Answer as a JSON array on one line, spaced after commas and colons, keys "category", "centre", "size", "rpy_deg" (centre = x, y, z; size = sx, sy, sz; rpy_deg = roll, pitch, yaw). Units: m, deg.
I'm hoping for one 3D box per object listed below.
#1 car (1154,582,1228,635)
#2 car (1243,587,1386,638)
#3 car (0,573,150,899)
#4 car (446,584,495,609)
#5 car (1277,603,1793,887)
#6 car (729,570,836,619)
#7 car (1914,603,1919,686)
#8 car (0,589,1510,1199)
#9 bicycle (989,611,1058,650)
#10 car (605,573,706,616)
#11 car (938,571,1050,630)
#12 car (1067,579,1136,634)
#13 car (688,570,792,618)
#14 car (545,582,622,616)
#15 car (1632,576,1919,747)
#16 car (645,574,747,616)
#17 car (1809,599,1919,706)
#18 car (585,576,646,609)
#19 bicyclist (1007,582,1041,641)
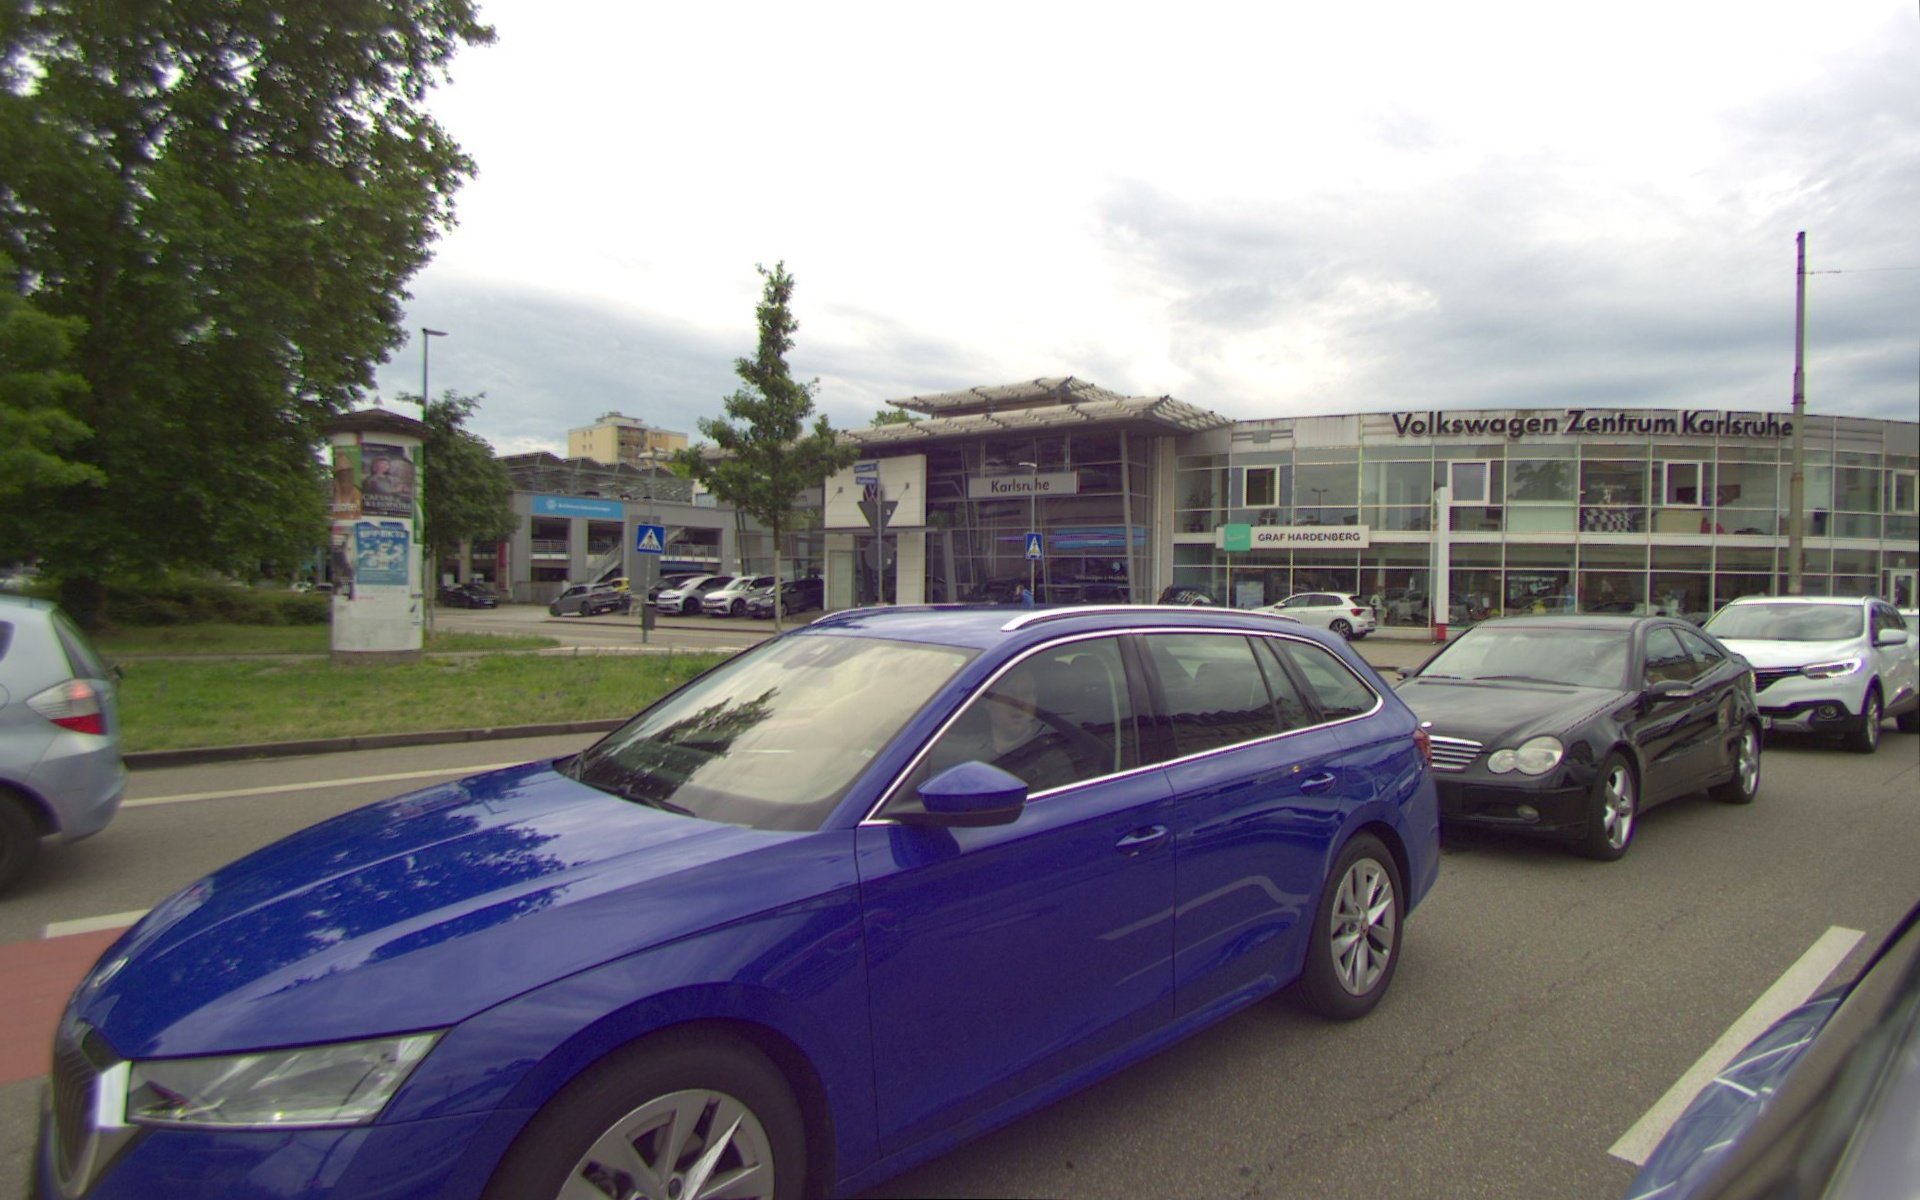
[{"category": "car", "centre": [7.339, 0.209, 32.536], "size": [1.760, 1.580, 4.029], "rpy_deg": [1, 1, 5]}, {"category": "car", "centre": [11.080, 0.350, 31.719], "size": [3.889, 1.459, 1.708], "rpy_deg": [2, 1, 40]}, {"category": "car", "centre": [-6.014, 0.629, 4.352], "size": [3.867, 1.502, 1.707], "rpy_deg": [0, 0, -43]}, {"category": "car", "centre": [-28.714, -0.237, 59.273], "size": [1.928, 1.358, 3.678], "rpy_deg": [-1, 2, -37]}, {"category": "car", "centre": [4.257, 0.734, 7.180], "size": [4.343, 1.388, 1.769], "rpy_deg": [0, 0, -40]}, {"category": "car", "centre": [-7.433, -0.287, 42.694], "size": [1.946, 1.472, 4.180], "rpy_deg": [2, 9, 37]}, {"category": "car", "centre": [18.953, 0.802, 18.288], "size": [3.899, 1.454, 1.909], "rpy_deg": [0, 1, -38]}, {"category": "car", "centre": [-0.019, 0.700, 3.407], "size": [4.674, 1.454, 1.768], "rpy_deg": [0, 0, -41]}, {"category": "bicycle", "centre": [1.652, 0.786, 26.564], "size": [1.779, 0.923, 0.555], "rpy_deg": [2, 1, 36]}, {"category": "car", "centre": [-14.248, -0.322, 47.586], "size": [1.946, 1.529, 4.179], "rpy_deg": [2, 7, 37]}, {"category": "car", "centre": [1.294, -0.067, 35.821], "size": [1.942, 1.662, 4.627], "rpy_deg": [1, 5, 31]}, {"category": "car", "centre": [4.705, 0.148, 33.179], "size": [1.927, 1.544, 4.216], "rpy_deg": [1, 3, 12]}, {"category": "car", "centre": [-9.601, -0.318, 44.500], "size": [1.946, 1.615, 4.179], "rpy_deg": [2, 8, 37]}, {"category": "car", "centre": [-18.374, -0.082, 49.302], "size": [4.128, 1.531, 1.633], "rpy_deg": [2, 1, 38]}, {"category": "car", "centre": [9.529, 0.553, 11.470], "size": [4.069, 1.578, 1.983], "rpy_deg": [0, 1, -38]}, {"category": "car", "centre": [-11.966, -0.270, 46.103], "size": [1.946, 1.483, 4.178], "rpy_deg": [2, 6, 37]}, {"category": "car", "centre": [14.684, 0.737, 15.400], "size": [3.899, 1.454, 1.909], "rpy_deg": [0, 1, -38]}, {"category": "car", "centre": [-17.544, -0.414, 51.521], "size": [3.106, 1.530, 1.422], "rpy_deg": [2, 5, 38]}, {"category": "bicyclist", "centre": [1.677, 0.293, 26.529], "size": [0.691, 1.515, 0.548], "rpy_deg": [1, 1, 36]}]
